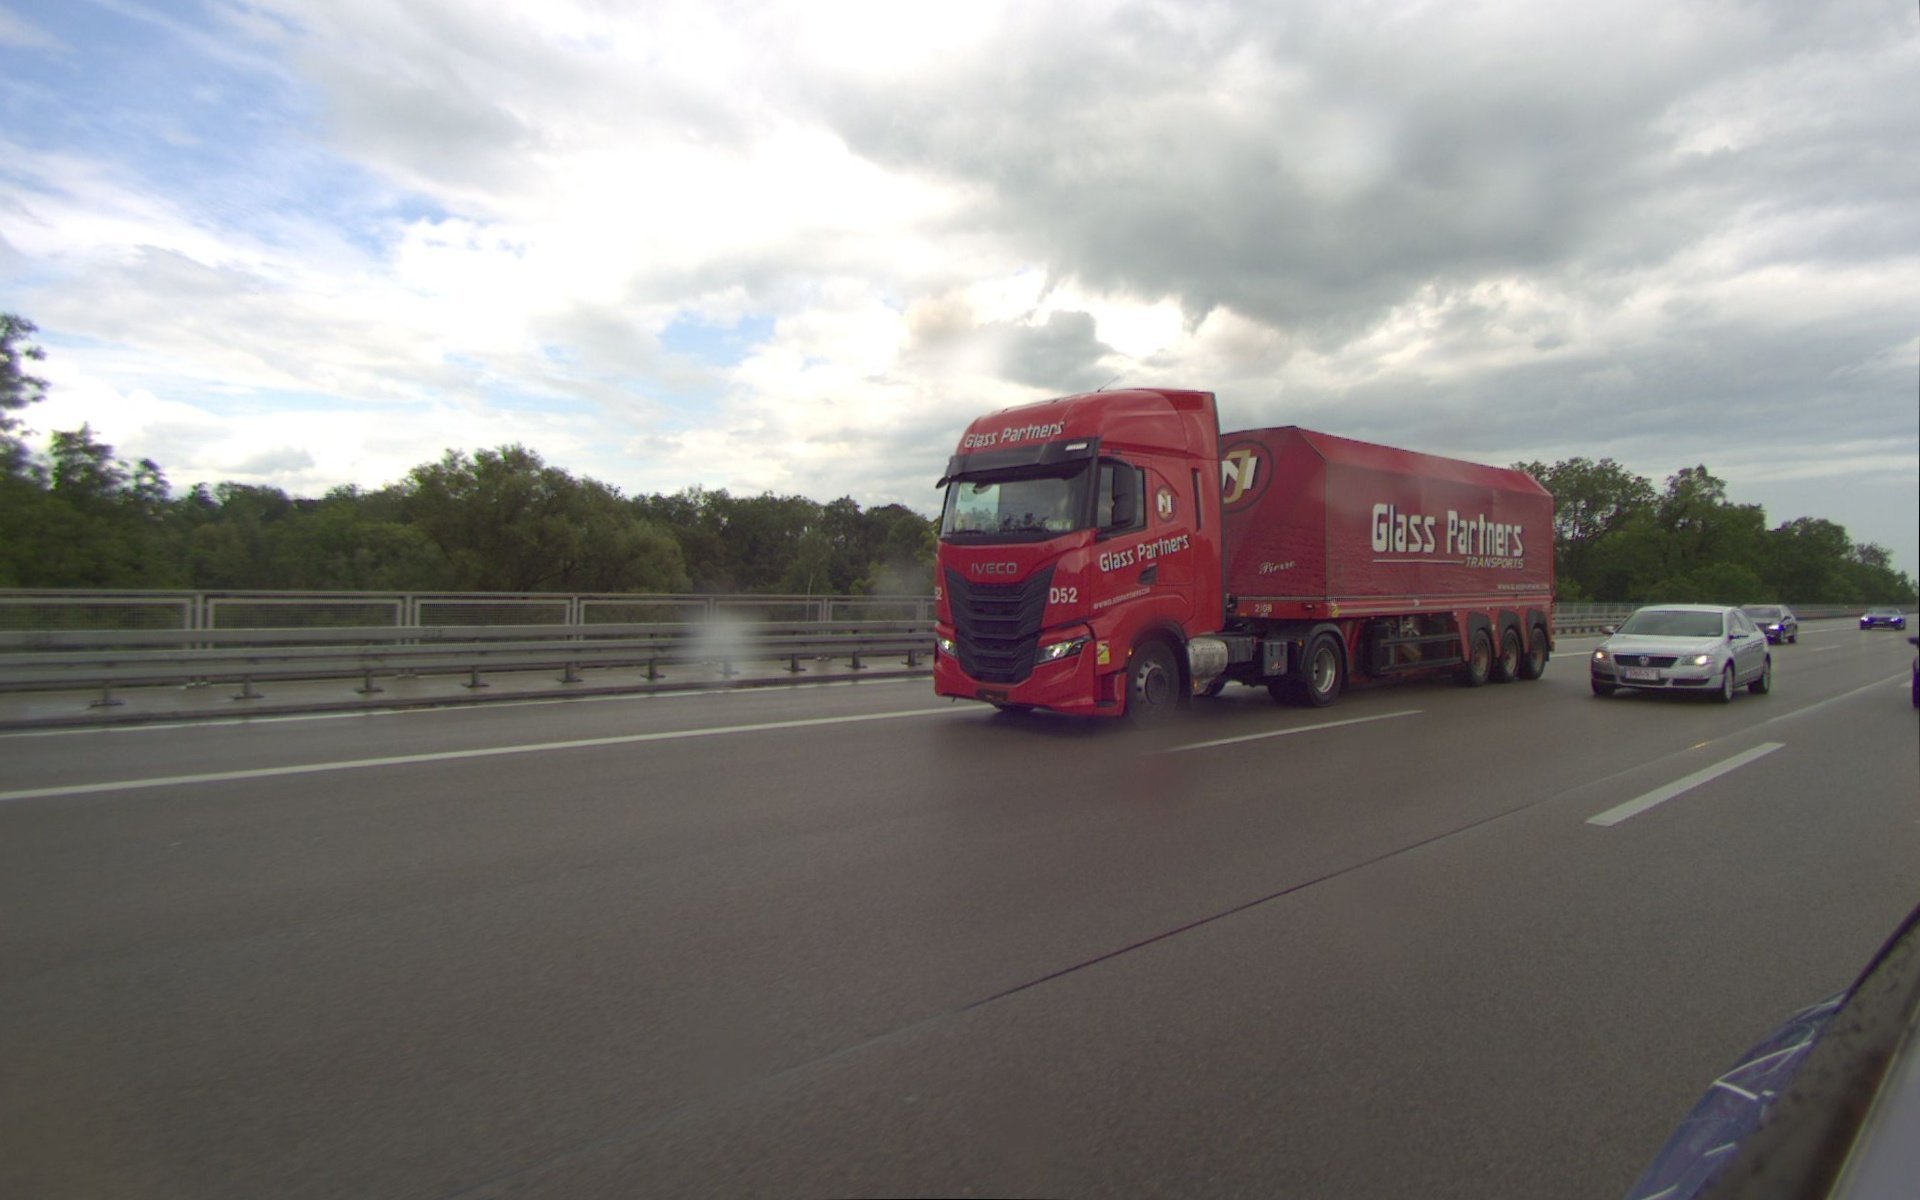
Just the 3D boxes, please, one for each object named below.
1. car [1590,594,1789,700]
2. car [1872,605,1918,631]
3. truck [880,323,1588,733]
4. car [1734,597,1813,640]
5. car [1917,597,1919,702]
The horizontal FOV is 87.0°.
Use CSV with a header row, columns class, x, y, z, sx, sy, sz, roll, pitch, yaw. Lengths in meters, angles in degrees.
class,x,y,z,sx,sy,sz,roll,pitch,yaw
car,11.872,0.671,16.367,4.175,1.465,1.895,1,0,-44
car,56.112,1.044,60.698,4.511,1.465,1.778,1,0,-44
truck,5.802,-0.687,16.332,15.366,4.054,3.157,1,0,-42
car,31.257,0.683,38.850,4.285,1.562,1.816,1,0,-44
car,15.555,0.698,14.986,4.330,1.458,1.666,0,1,-42
